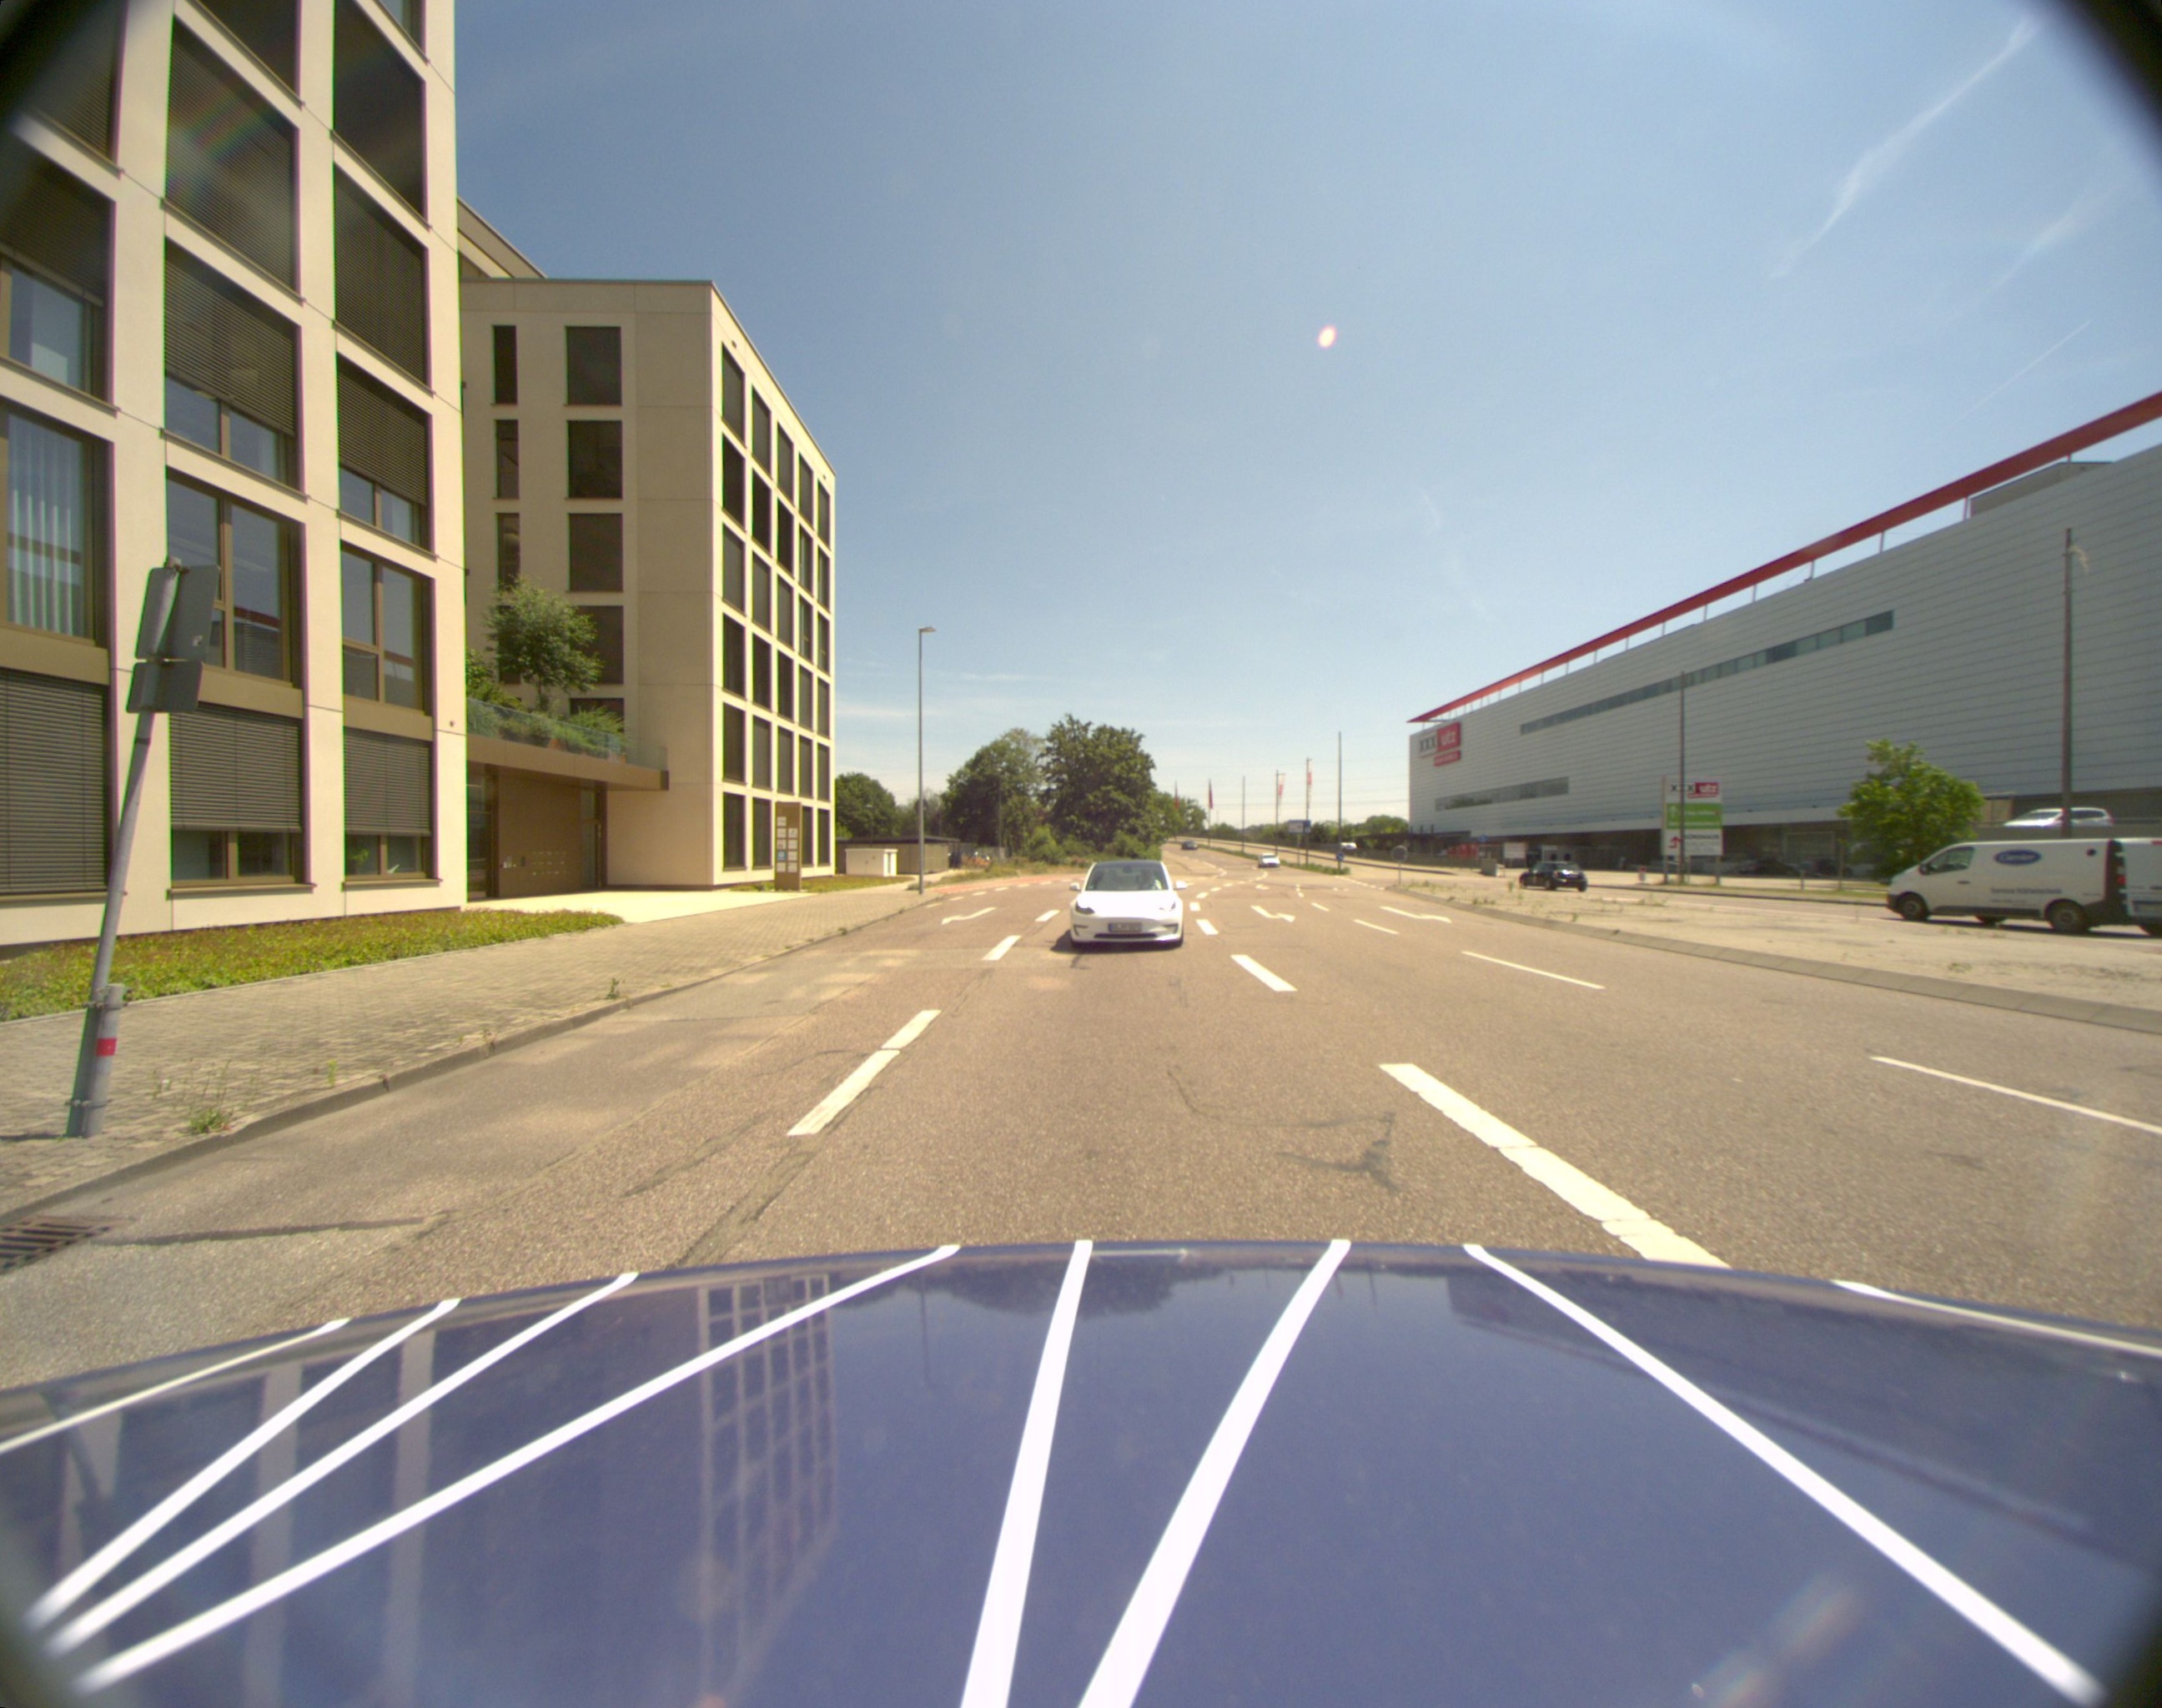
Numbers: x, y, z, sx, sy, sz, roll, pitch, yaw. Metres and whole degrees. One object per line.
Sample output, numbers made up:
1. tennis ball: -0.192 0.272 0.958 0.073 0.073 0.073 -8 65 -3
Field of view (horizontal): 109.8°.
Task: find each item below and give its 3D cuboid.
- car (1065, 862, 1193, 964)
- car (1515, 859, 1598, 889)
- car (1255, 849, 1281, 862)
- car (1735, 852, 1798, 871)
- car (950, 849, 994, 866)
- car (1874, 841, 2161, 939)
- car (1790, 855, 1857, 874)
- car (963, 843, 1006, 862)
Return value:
1. car: 0.676 0.908 13.647 1.880 1.417 4.405 -2 0 -1
2. car: 22.862 0.941 36.699 1.859 1.295 3.895 1 0 6
3. car: 20.502 0.145 83.328 1.735 1.441 4.230 0 0 -1
4. car: 59.851 0.682 66.355 3.747 1.610 1.911 0 1 0
5. car: -10.905 0.376 75.849 4.005 1.652 1.834 0 1 -24
6. car: 20.743 0.672 16.710 1.834 1.839 4.842 0 0 5
7. car: 59.845 0.815 61.287 3.483 1.487 1.959 0 1 1
8. car: -10.134 -0.201 79.873 4.005 1.941 1.996 0 1 -25
